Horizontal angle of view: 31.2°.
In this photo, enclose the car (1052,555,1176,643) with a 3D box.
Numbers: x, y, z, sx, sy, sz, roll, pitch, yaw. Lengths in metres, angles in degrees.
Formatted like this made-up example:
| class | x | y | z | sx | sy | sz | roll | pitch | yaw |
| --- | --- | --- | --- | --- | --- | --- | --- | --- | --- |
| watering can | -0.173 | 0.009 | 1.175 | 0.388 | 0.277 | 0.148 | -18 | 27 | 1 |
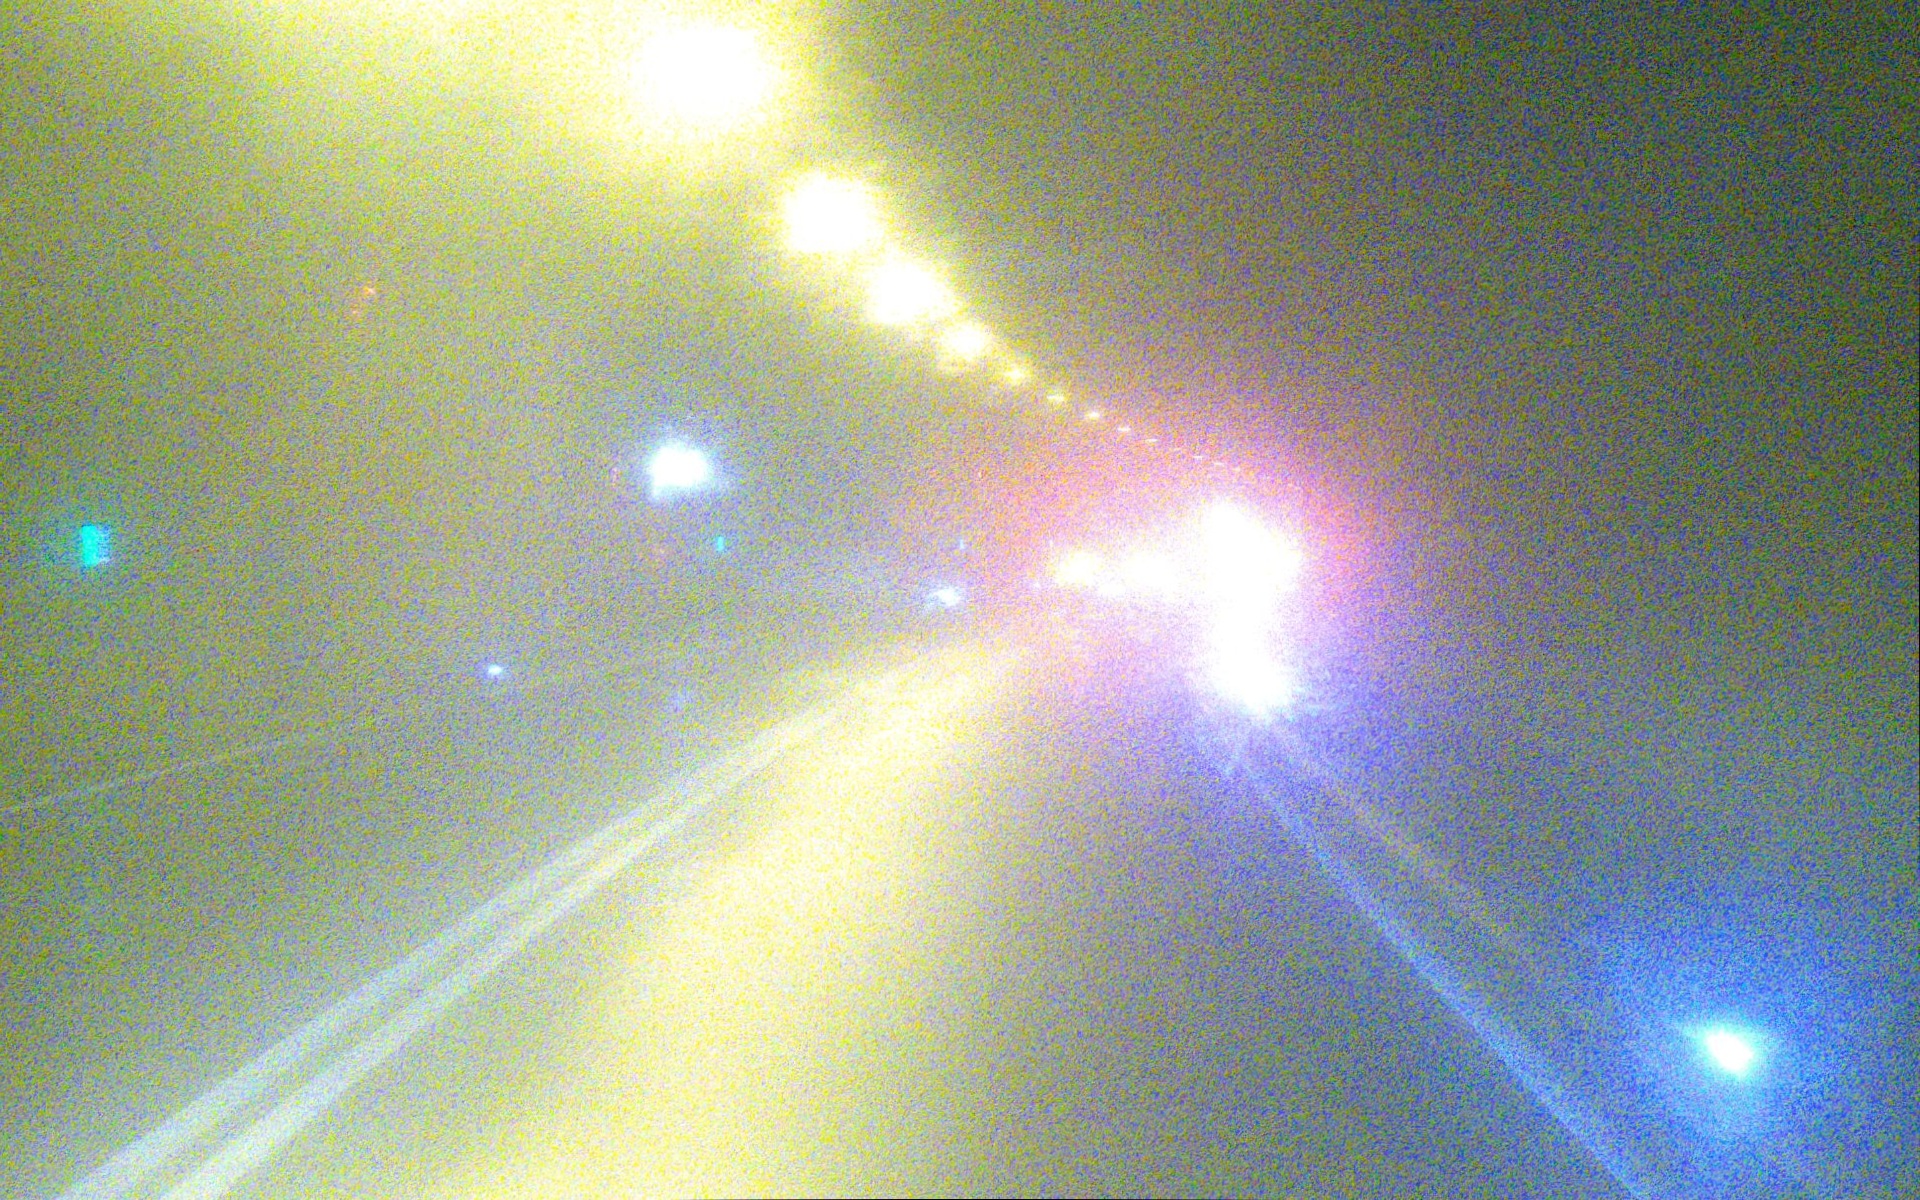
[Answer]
| class | x | y | z | sx | sy | sz | roll | pitch | yaw |
| --- | --- | --- | --- | --- | --- | --- | --- | --- | --- |
| car | 3.067 | -0.029 | 67.914 | 2.090 | 1.656 | 3.999 | 1 | 1 | 7 |
